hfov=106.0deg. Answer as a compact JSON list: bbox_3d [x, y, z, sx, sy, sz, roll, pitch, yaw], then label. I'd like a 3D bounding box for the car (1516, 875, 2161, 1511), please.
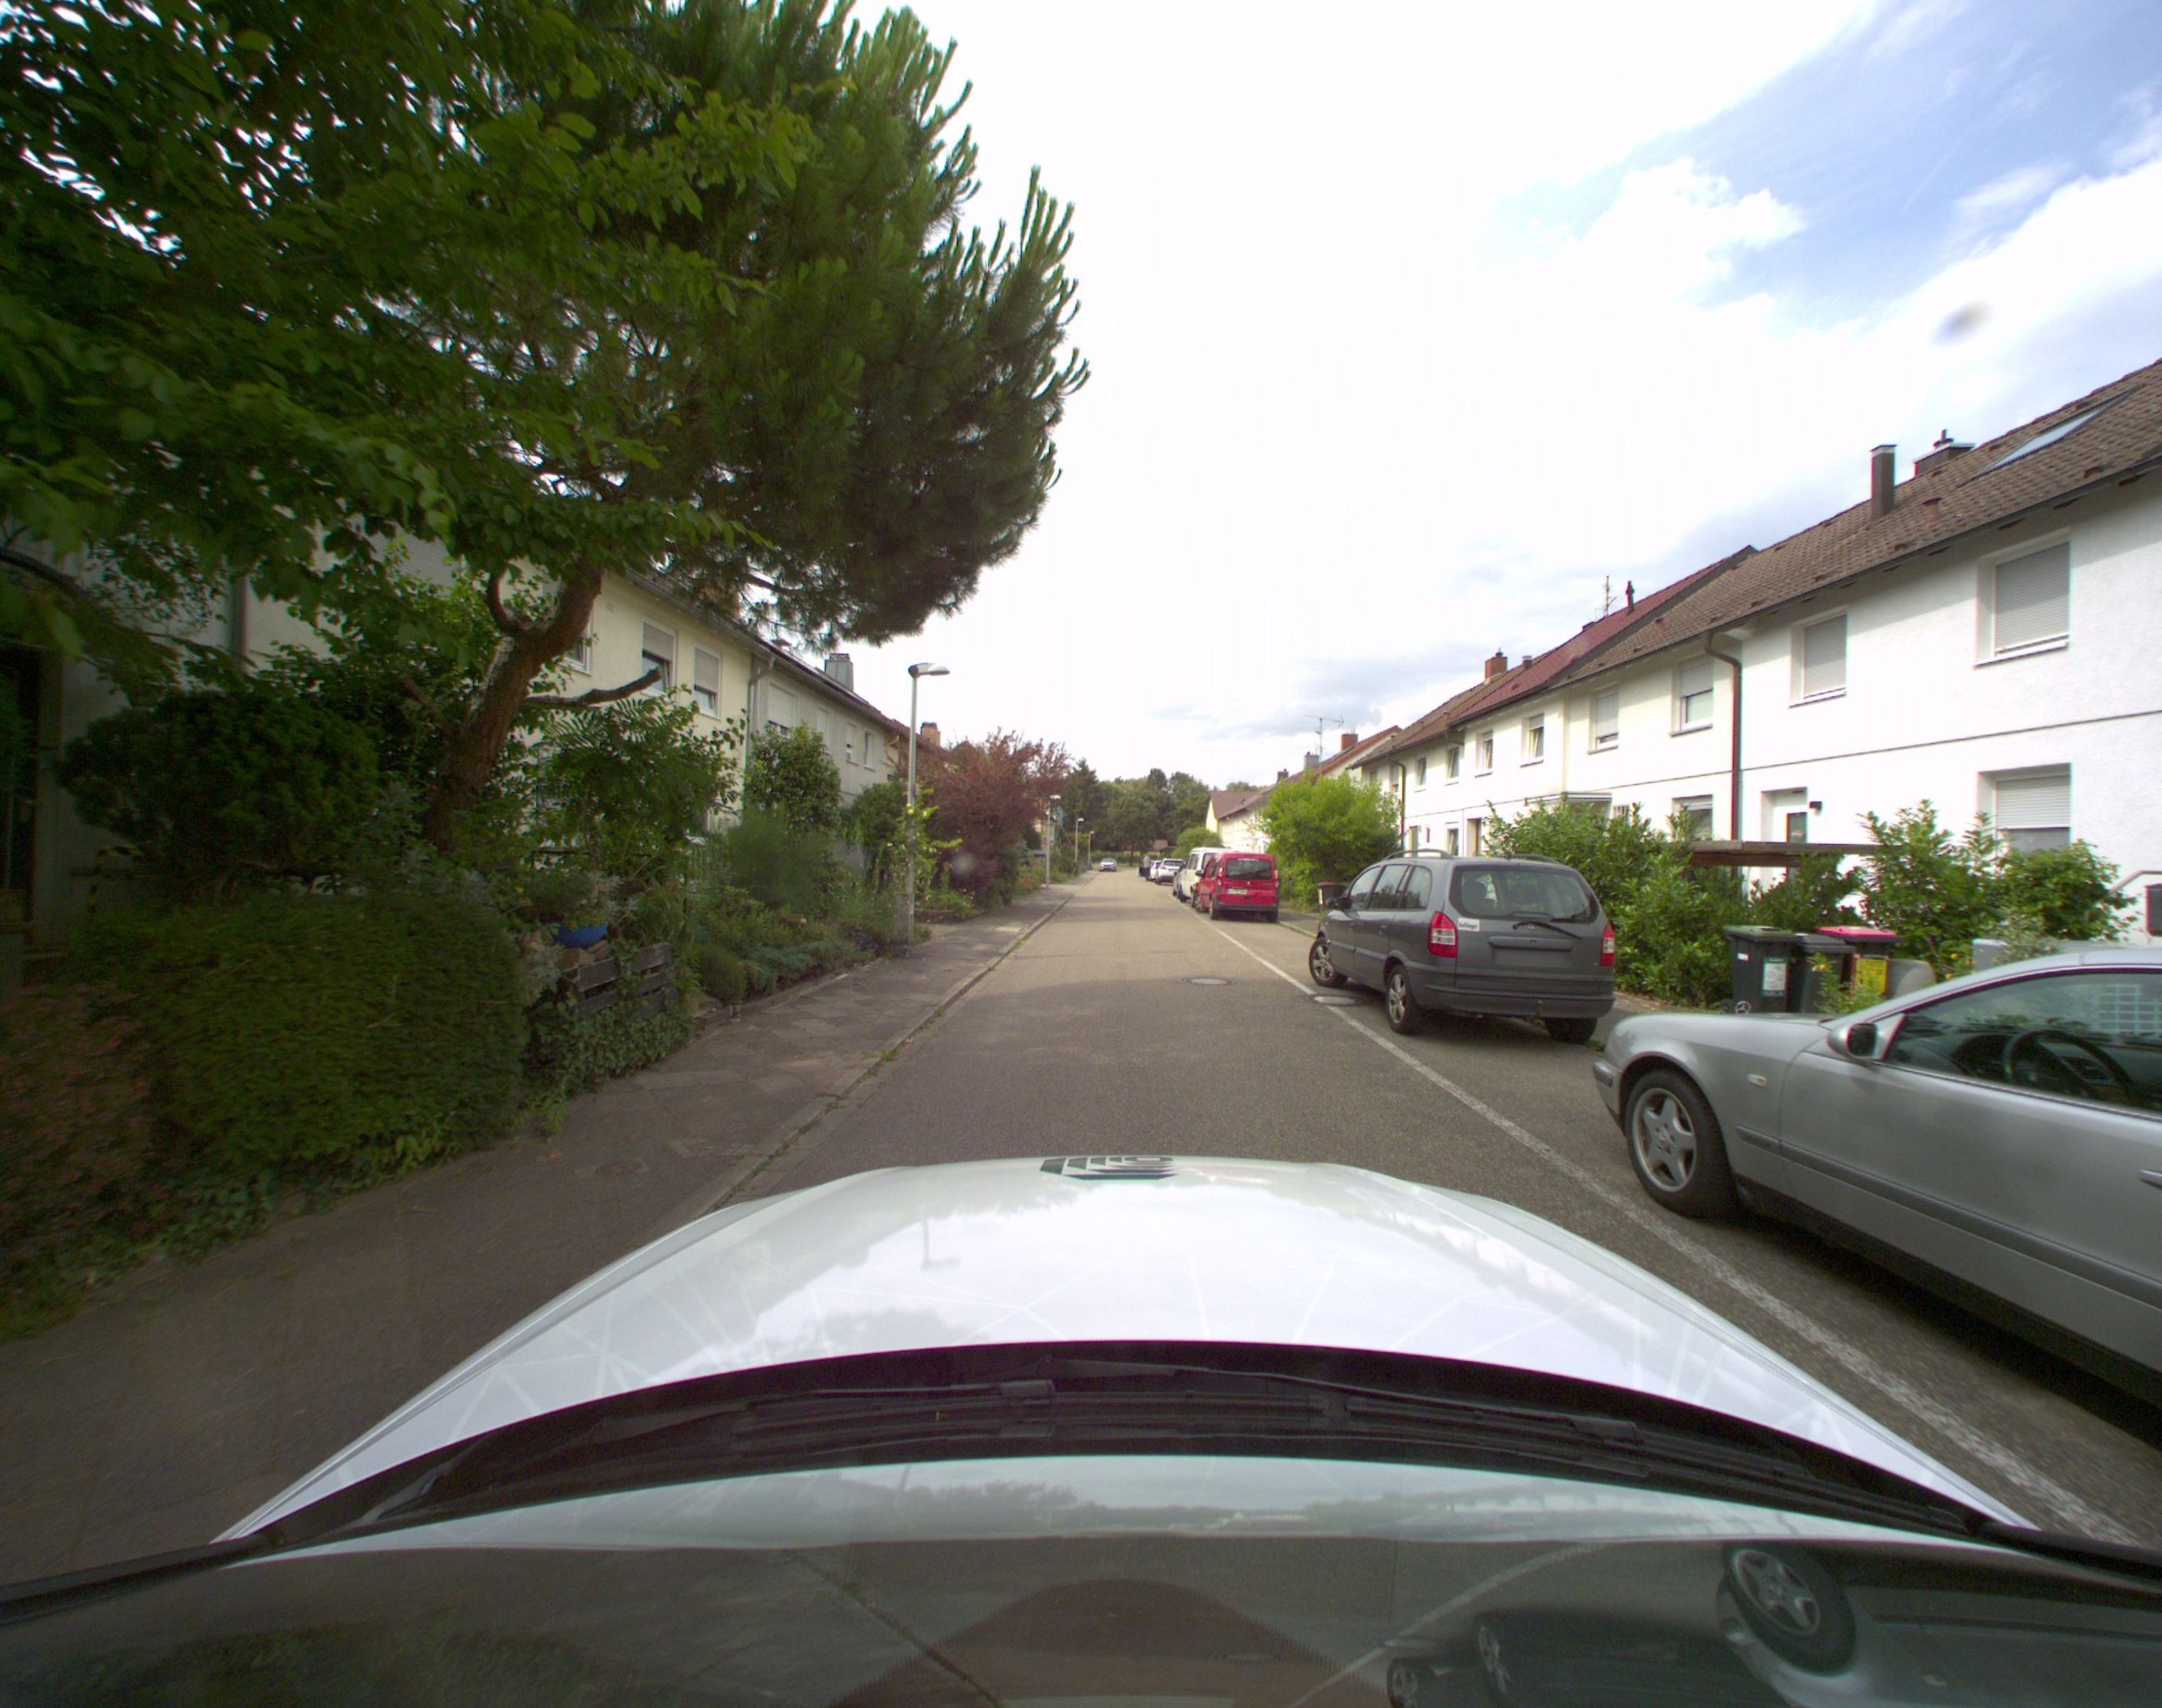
[{"bbox_3d":[3.482,0.871,2.384,1.861,1.407,4.767,3,0,0],"label":"car"}]

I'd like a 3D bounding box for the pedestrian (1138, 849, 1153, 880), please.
[{"bbox_3d":[4.352,0.701,55.014,0.909,2.013,0.950,1,0,-1],"label":"pedestrian"}]

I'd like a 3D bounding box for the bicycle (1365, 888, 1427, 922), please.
[{"bbox_3d":[8.612,1.375,22.240,1.596,0.865,0.739,0,0,-29],"label":"bicycle"}]

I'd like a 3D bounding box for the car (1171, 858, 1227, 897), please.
[{"bbox_3d":[4.741,0.912,33.092,1.893,1.459,4.133,0,0,3],"label":"car"}]

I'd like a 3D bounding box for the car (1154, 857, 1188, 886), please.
[{"bbox_3d":[5.255,1.005,47.750,1.707,1.543,3.976,3,0,3],"label":"car"}]

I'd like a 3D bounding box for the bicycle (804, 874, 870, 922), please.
[{"bbox_3d":[-5.075,0.888,16.907,1.682,0.892,0.532,1,1,44],"label":"bicycle"}]

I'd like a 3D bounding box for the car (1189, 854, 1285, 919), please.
[{"bbox_3d":[4.275,0.827,22.992,1.805,1.651,4.408,0,0,-1],"label":"car"}]

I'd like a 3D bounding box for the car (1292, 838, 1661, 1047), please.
[{"bbox_3d":[3.784,0.719,8.823,1.861,1.653,4.464,1,0,1],"label":"car"}]

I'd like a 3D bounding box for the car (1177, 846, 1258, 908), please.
[{"bbox_3d":[4.575,0.731,27.989,2.014,1.947,4.747,0,0,0],"label":"car"}]

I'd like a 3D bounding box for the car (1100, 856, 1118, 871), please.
[{"bbox_3d":[3.159,1.064,92.574,1.926,1.556,4.638,0,0,3],"label":"car"}]

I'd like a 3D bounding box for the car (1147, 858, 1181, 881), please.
[{"bbox_3d":[5.549,1.013,55.190,1.832,1.413,4.636,0,0,0],"label":"car"}]
